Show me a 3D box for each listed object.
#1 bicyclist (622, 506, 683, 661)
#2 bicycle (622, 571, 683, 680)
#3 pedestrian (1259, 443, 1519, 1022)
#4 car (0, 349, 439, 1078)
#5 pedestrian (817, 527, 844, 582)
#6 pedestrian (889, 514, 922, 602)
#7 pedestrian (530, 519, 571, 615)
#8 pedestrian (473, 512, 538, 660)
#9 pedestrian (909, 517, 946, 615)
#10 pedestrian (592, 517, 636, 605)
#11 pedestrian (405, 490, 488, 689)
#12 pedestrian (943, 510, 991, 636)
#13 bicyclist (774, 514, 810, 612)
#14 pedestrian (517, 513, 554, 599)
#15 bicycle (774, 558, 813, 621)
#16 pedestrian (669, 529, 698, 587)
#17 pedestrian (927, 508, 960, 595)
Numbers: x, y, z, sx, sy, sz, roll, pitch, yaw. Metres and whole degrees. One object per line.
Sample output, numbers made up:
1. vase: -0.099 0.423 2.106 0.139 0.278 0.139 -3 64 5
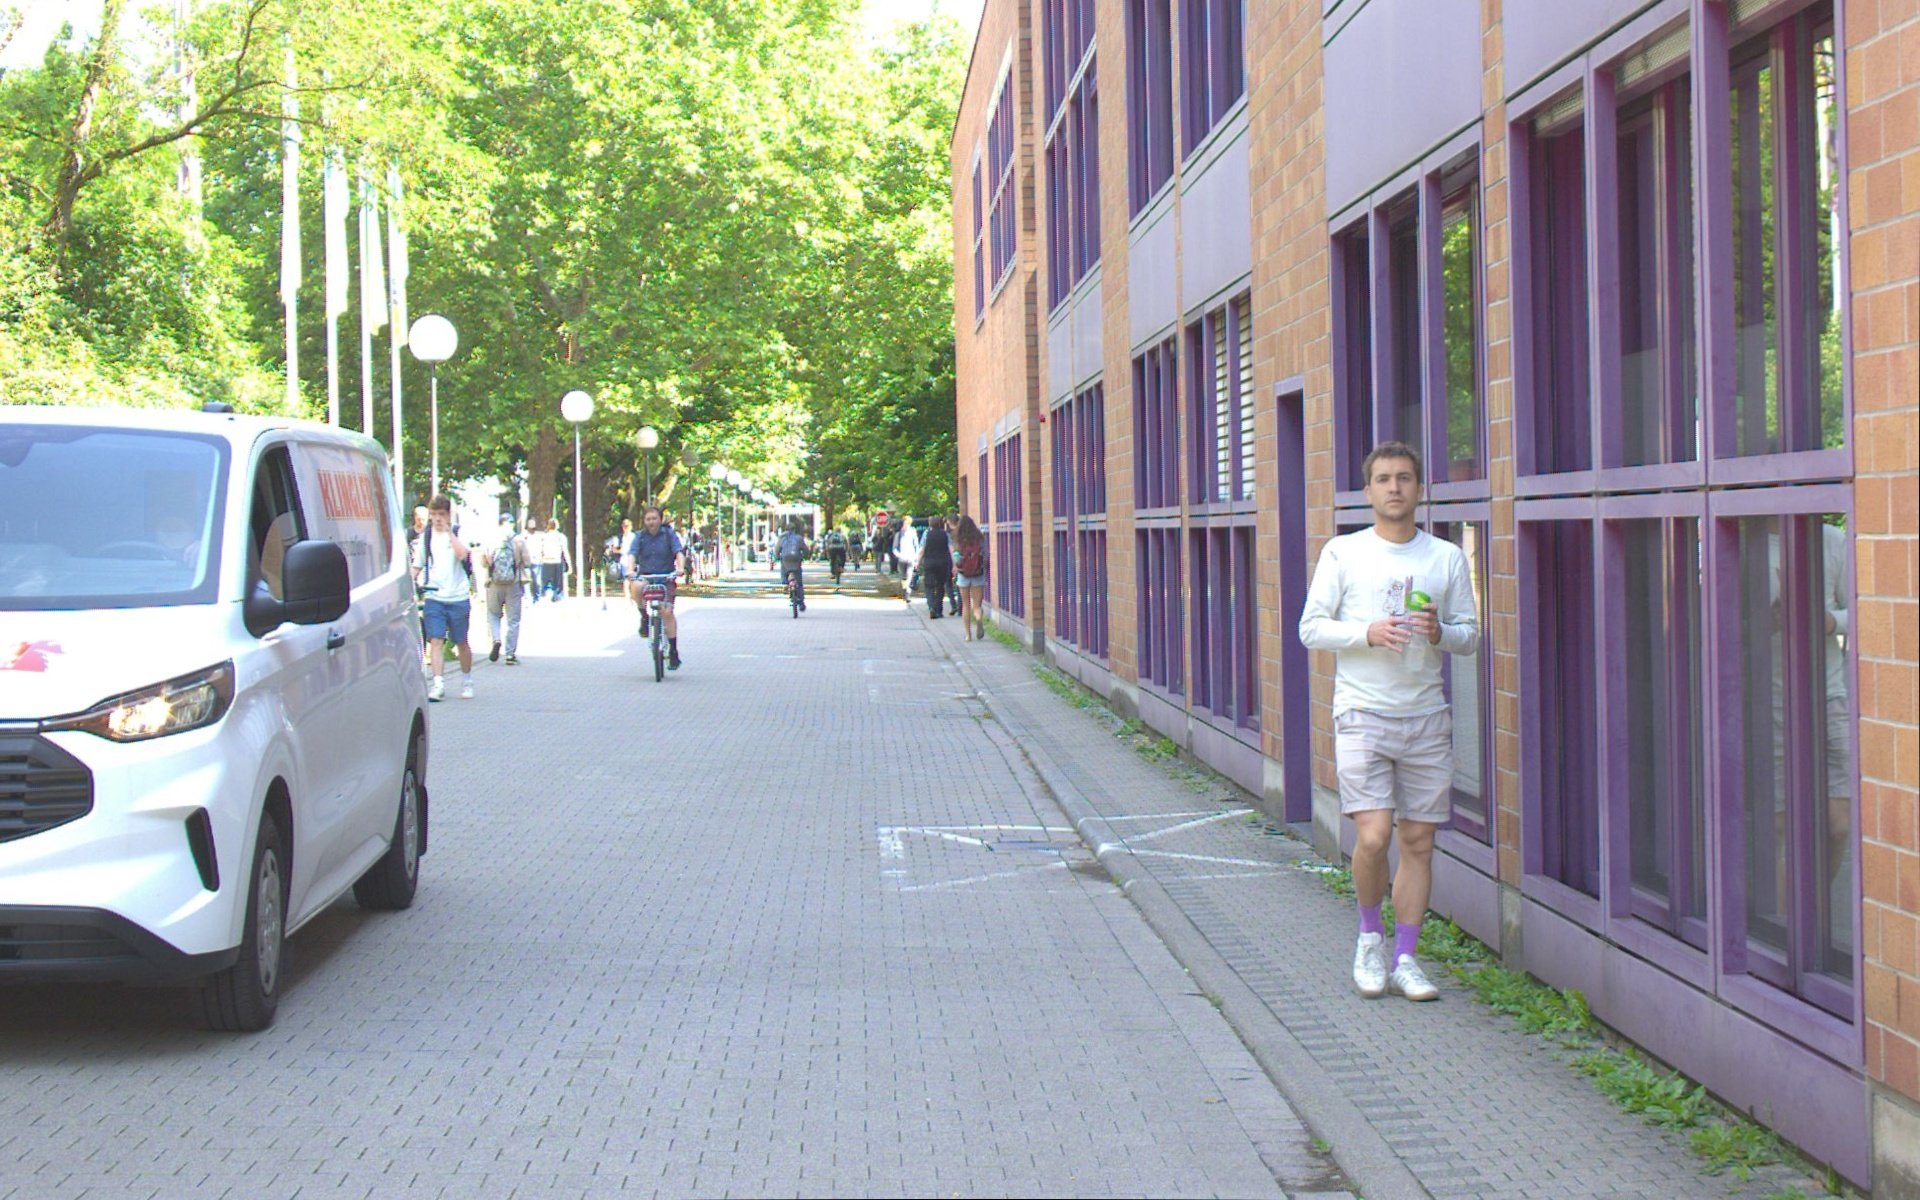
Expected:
1. bicyclist: -3.166 -0.172 35.408 0.587 1.567 0.829 -1 1 -5
2. bicycle: -3.168 0.249 35.444 0.587 1.080 1.814 -1 1 -5
3. pedestrian: 1.327 0.398 10.756 0.682 1.741 0.783 0 0 -1
4. car: -3.083 0.278 11.906 1.883 1.967 5.215 -1 1 -2
5. pedestrian: -3.983 -1.393 105.705 0.725 1.667 0.748 -2 0 0
6. pedestrian: -1.217 -0.927 76.496 0.653 1.916 0.817 -2 0 0
7. pedestrian: -7.285 -0.581 61.225 0.586 1.667 0.699 -2 0 0
8. pedestrian: -5.209 -0.157 39.414 0.586 1.667 0.699 -2 0 0
9. pedestrian: -0.565 -0.579 59.737 0.586 1.667 0.817 -2 0 0
10. pedestrian: -6.718 -0.748 66.785 0.725 1.667 0.748 -2 0 0
11. pedestrian: -4.652 -0.091 31.184 0.586 1.759 0.699 -2 0 0
12. pedestrian: 0.091 -0.358 46.450 0.586 1.667 0.699 -2 0 0
13. bicyclist: -2.966 -0.659 60.779 0.587 1.710 0.665 -1 1 -5
14. pedestrian: -8.449 -0.871 68.421 0.586 1.667 0.699 -2 0 0
15. bicycle: -2.940 -0.197 60.582 0.587 1.080 1.908 -1 1 -5
16. pedestrian: -8.218 -1.240 102.173 0.725 1.667 0.748 -2 0 0
17. pedestrian: -0.373 -1.073 76.594 0.653 1.916 0.817 -2 0 0
